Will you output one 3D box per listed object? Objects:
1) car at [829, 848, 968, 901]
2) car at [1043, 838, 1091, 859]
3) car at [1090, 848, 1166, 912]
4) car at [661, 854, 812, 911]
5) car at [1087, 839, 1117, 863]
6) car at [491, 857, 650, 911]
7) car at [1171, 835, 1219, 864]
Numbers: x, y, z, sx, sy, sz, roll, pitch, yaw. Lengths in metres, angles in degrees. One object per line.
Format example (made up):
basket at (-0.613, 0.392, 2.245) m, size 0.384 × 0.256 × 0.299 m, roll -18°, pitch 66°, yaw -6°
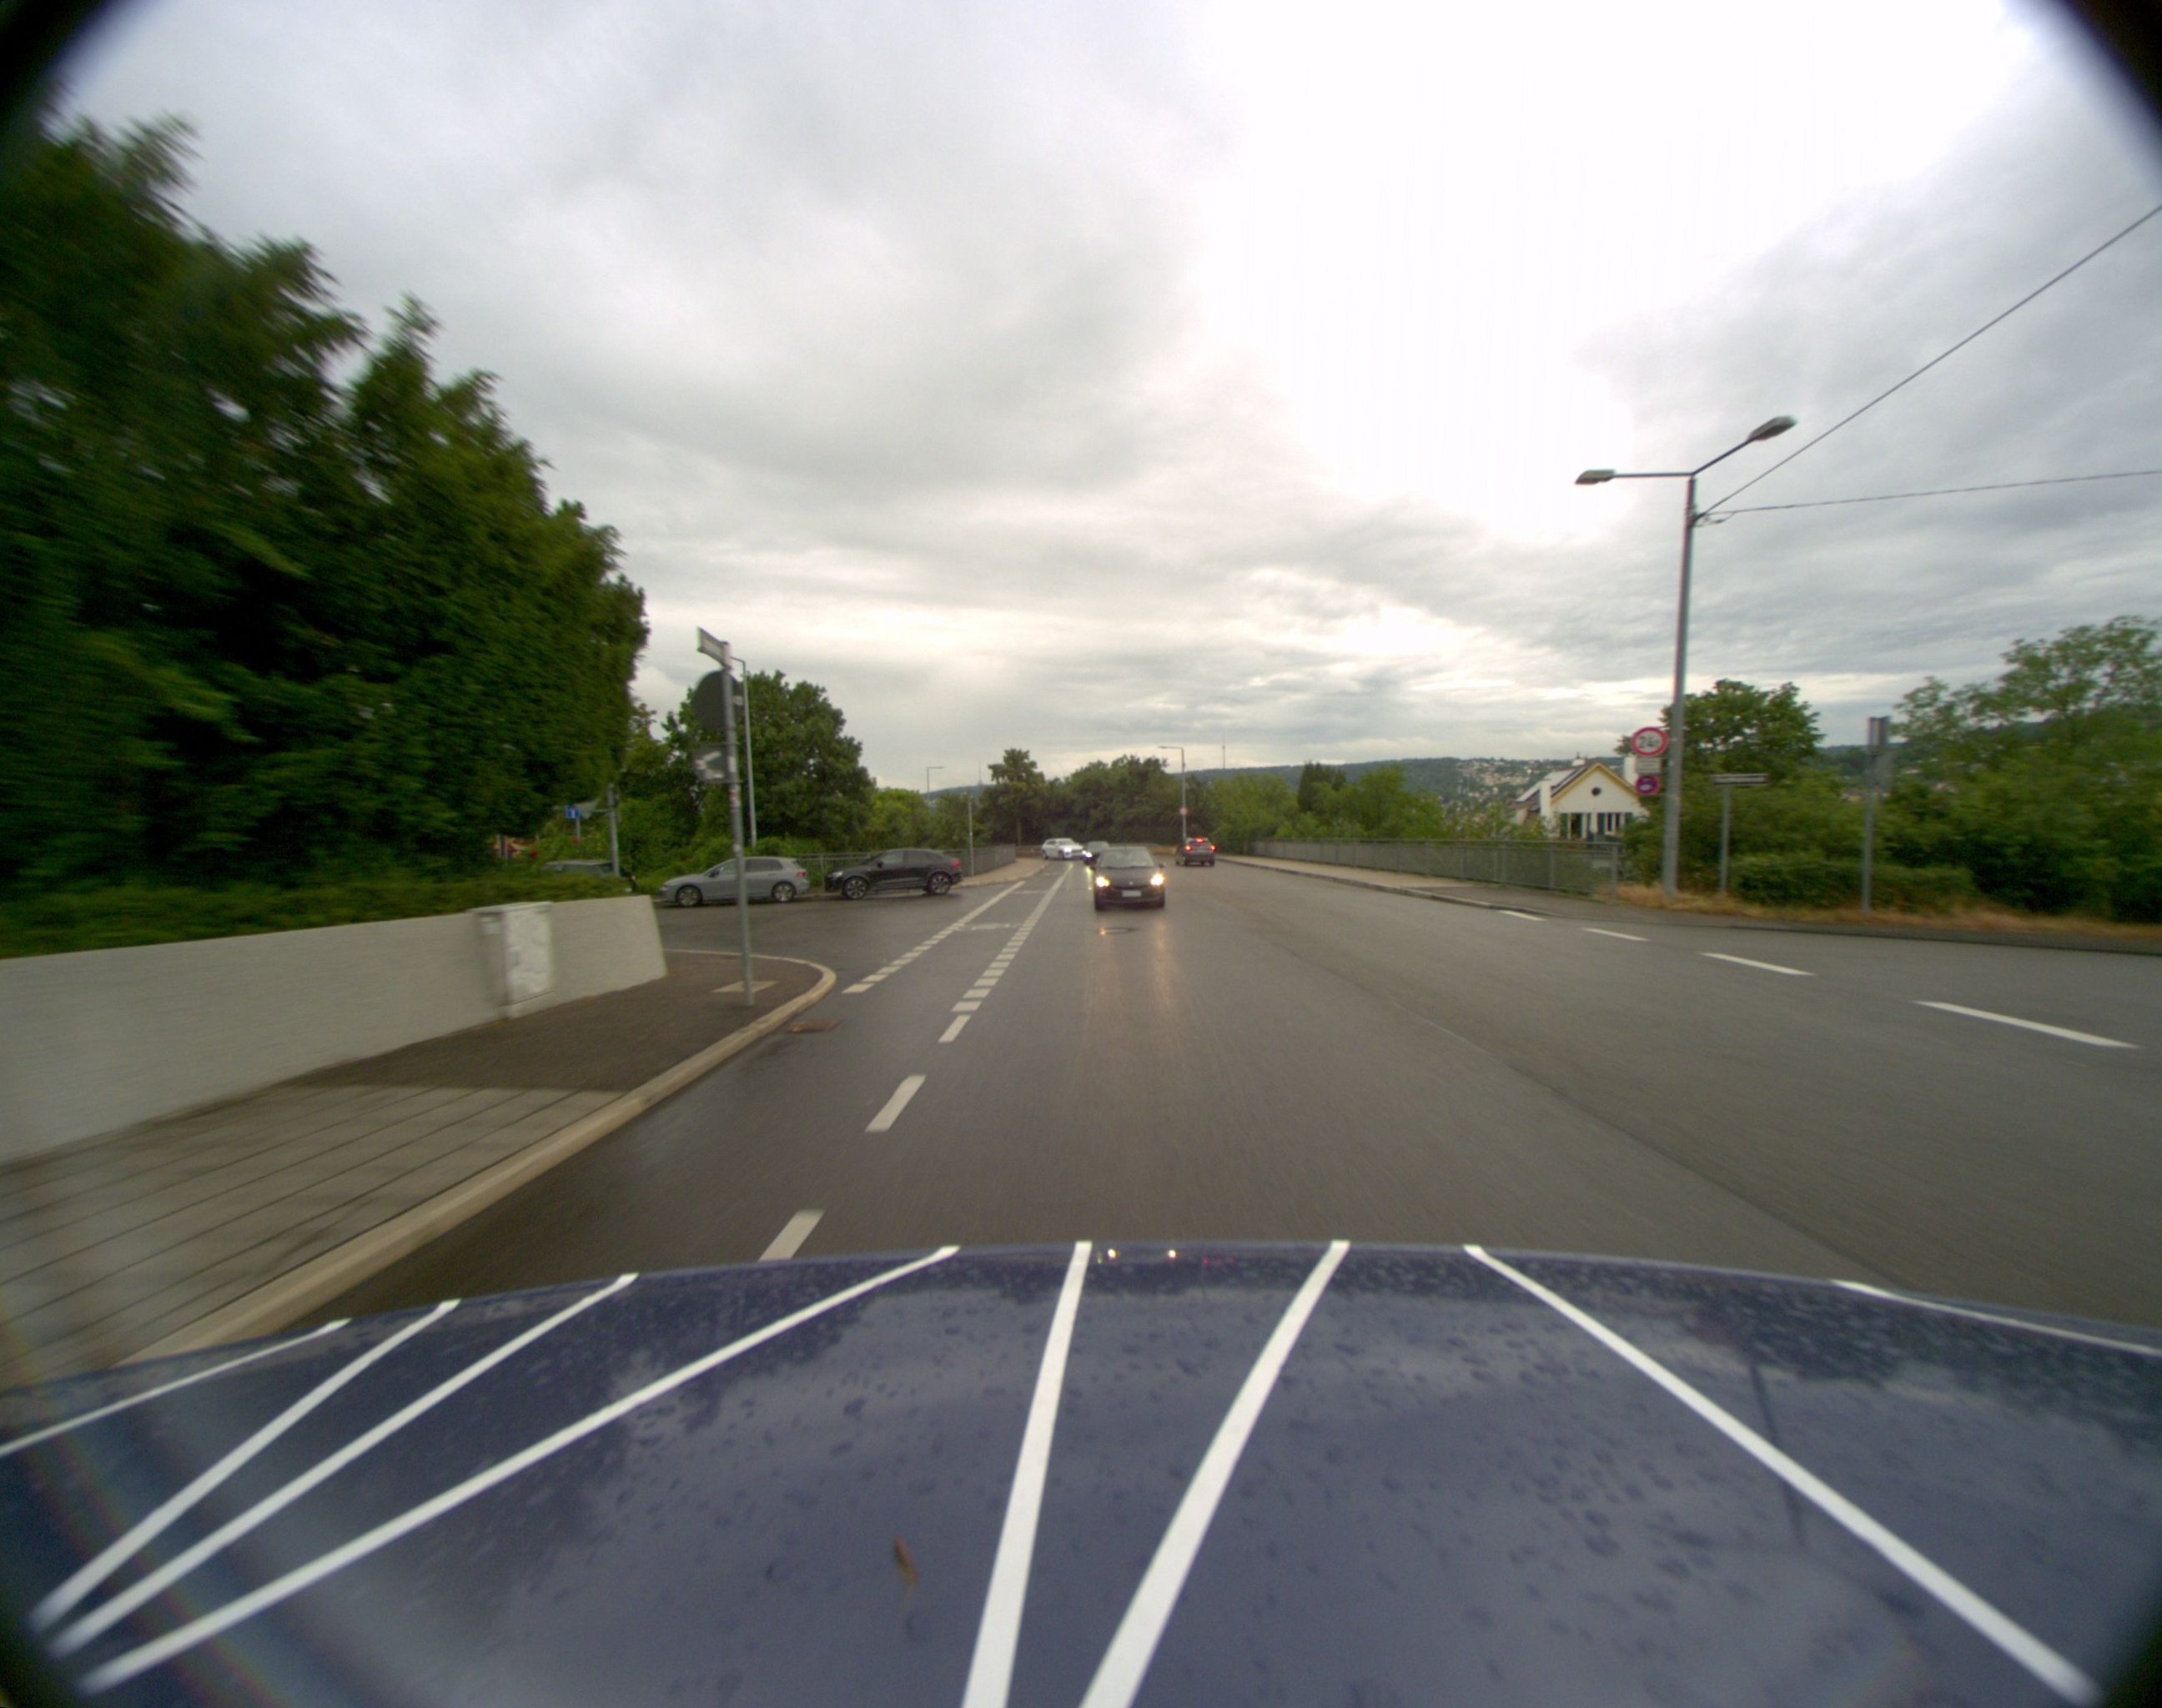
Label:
car at (-6.096, 0.630, 25.349) m, size 4.206 × 1.514 × 1.996 m, roll -3°, pitch 1°, yaw -23°
car at (-1.172, -0.457, 59.493) m, size 1.893 × 1.566 × 4.582 m, roll -3°, pitch 2°, yaw -27°
car at (1.197, 0.577, 18.972) m, size 1.680 × 1.405 × 3.638 m, roll -1°, pitch 0°, yaw 4°
car at (-10.556, 0.825, 23.587) m, size 4.060 × 1.417 × 1.797 m, roll -3°, pitch 3°, yaw -21°
car at (1.285, -0.218, 48.492) m, size 1.766 × 1.445 × 4.399 m, roll -1°, pitch 1°, yaw 0°
car at (-15.467, 0.885, 23.133) m, size 3.598 × 1.480 × 1.841 m, roll -1°, pitch 1°, yaw 4°
car at (6.401, -0.278, 43.079) m, size 1.739 × 1.537 × 3.996 m, roll -1°, pitch 2°, yaw -7°
